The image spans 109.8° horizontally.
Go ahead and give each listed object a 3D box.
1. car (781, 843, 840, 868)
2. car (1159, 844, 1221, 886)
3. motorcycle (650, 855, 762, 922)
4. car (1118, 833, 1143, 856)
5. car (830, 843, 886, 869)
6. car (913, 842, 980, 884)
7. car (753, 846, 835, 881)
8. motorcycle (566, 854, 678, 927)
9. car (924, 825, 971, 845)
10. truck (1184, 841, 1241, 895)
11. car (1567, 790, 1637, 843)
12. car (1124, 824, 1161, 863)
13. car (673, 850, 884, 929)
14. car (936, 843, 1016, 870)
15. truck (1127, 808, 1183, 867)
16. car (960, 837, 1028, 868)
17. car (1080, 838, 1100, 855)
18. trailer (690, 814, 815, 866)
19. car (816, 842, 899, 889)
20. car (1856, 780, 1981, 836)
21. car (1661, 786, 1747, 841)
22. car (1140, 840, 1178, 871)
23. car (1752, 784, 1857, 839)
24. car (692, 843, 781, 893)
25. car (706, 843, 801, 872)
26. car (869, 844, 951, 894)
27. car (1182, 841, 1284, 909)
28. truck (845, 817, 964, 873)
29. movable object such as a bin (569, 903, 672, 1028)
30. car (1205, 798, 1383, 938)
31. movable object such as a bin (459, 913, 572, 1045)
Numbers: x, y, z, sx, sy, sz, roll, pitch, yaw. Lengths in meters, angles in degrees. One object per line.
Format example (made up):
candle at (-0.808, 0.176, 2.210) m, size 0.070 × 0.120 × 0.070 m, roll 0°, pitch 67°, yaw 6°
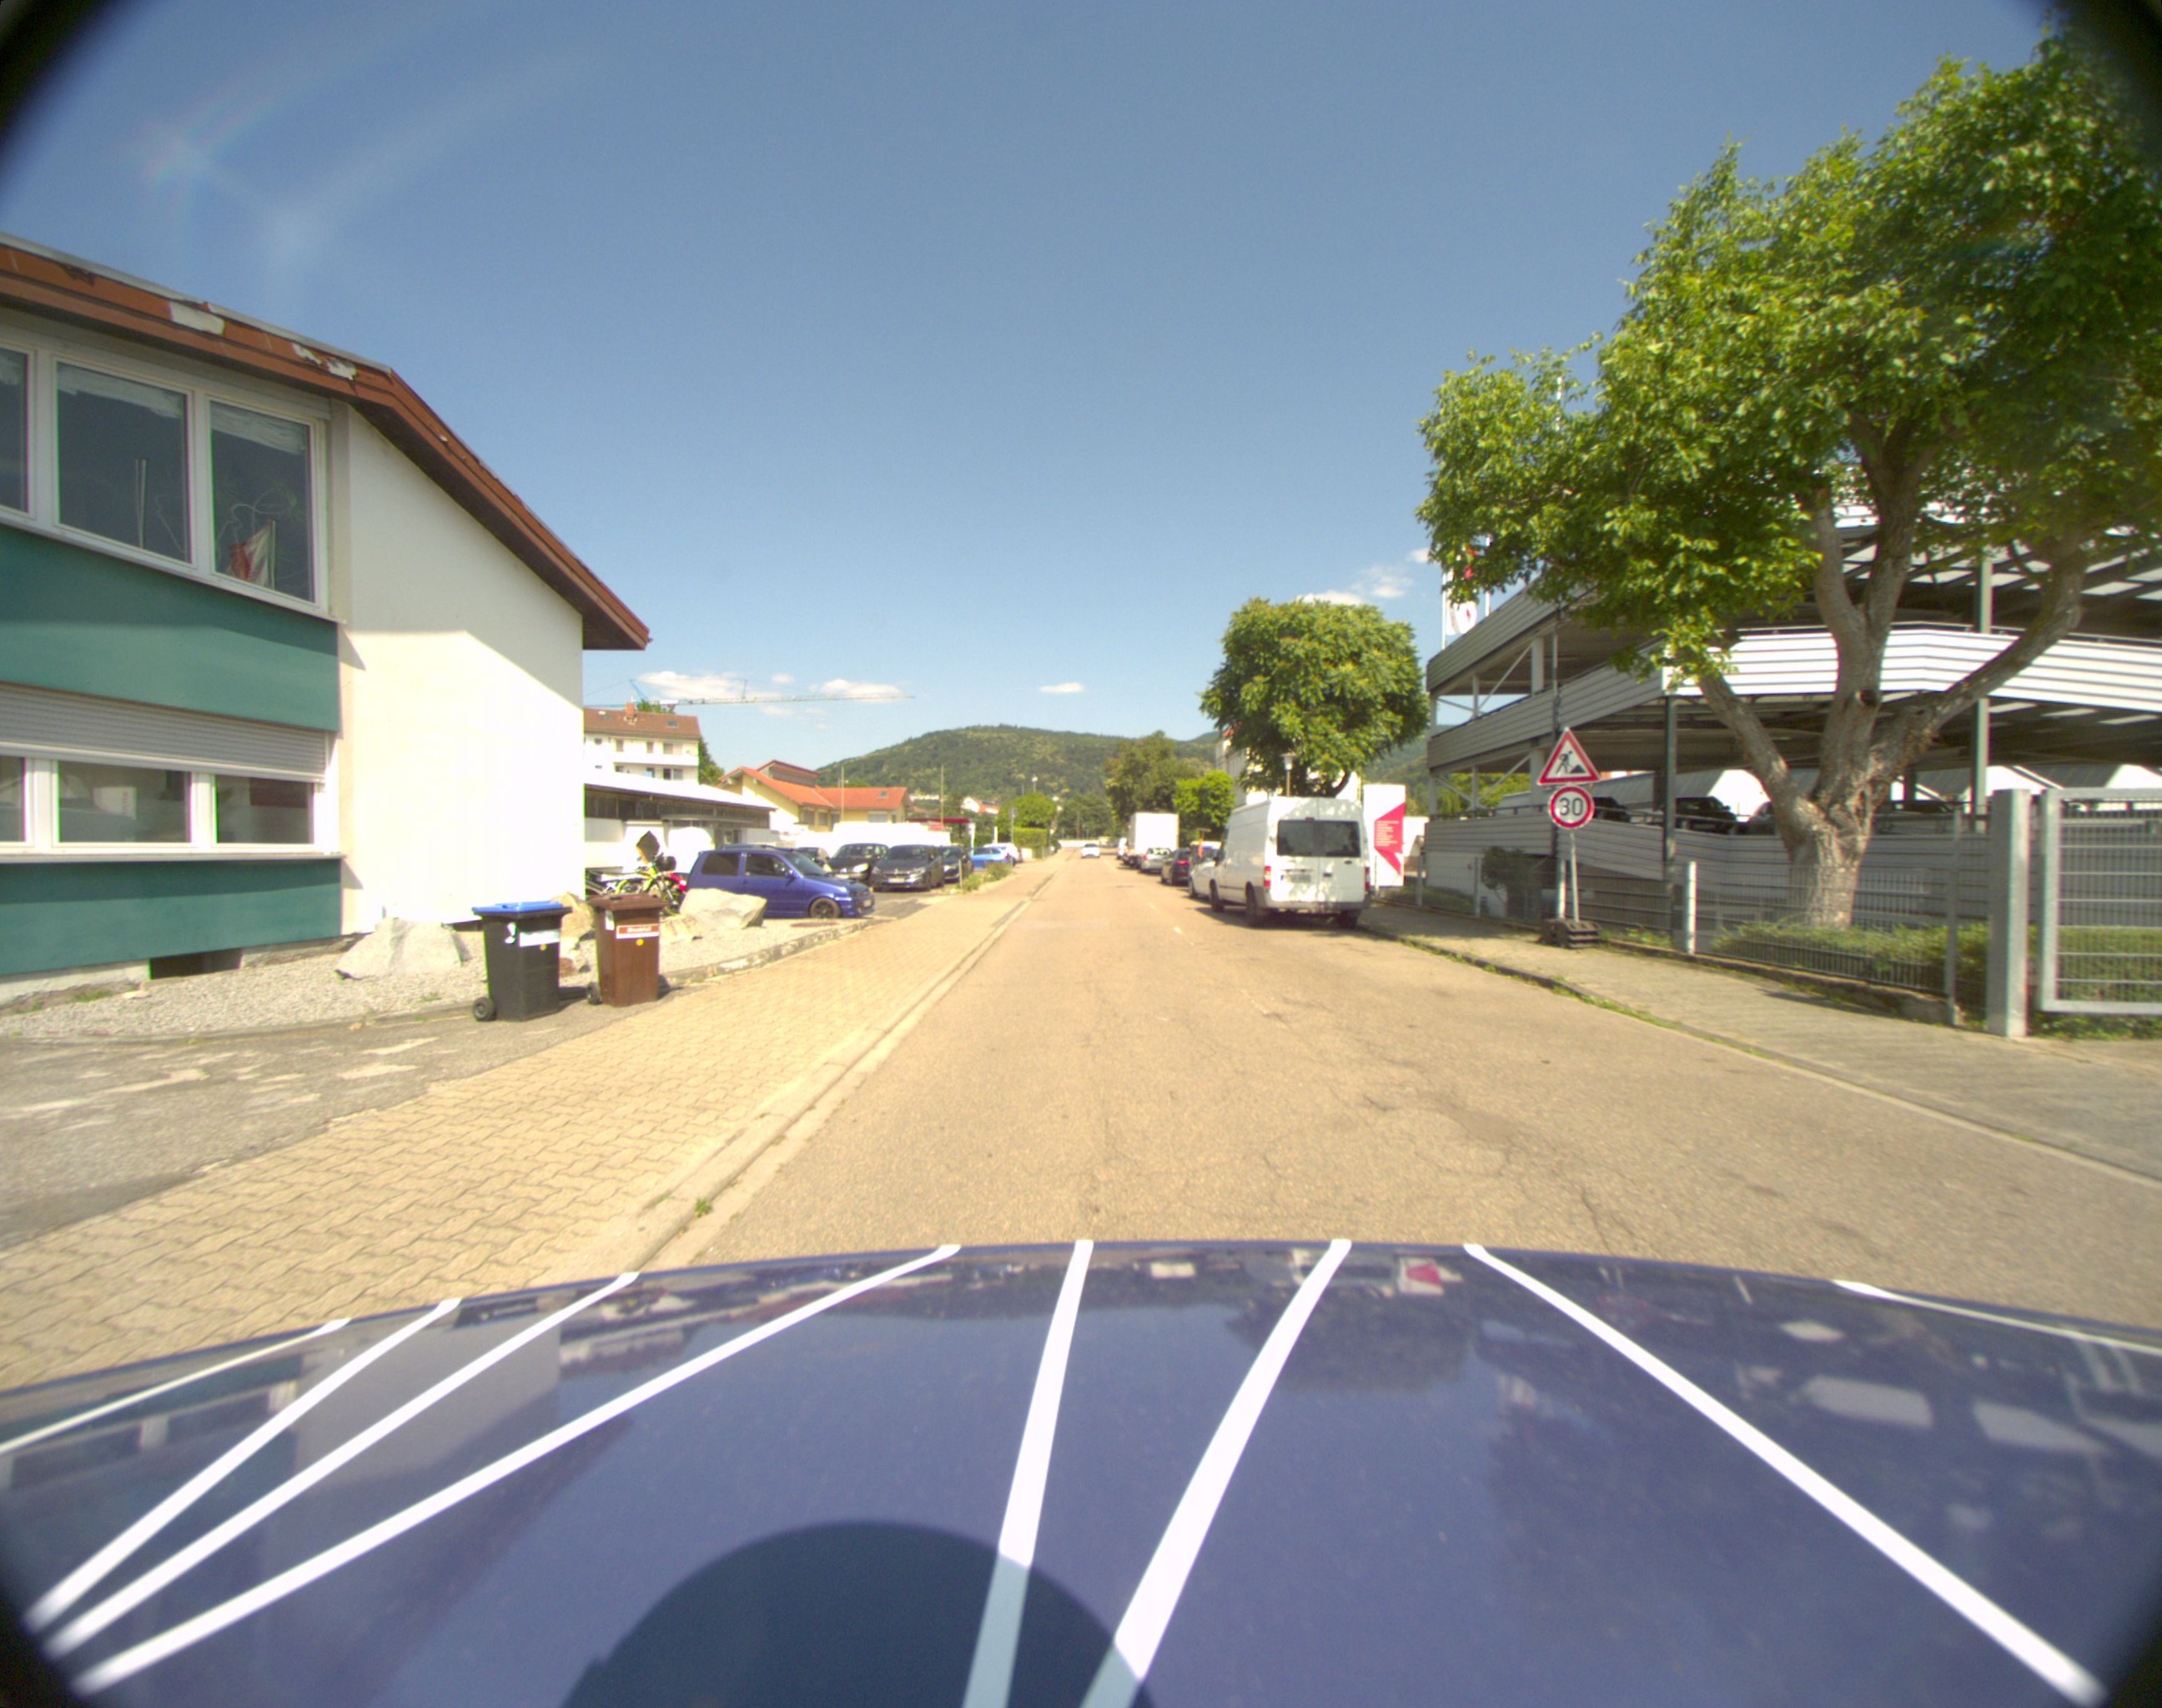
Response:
car at (-16.249, 0.051, 45.844) m, size 1.890 × 1.385 × 4.027 m, roll 1°, pitch 2°, yaw 4°
car at (4.112, 0.364, 29.267) m, size 1.709 × 1.455 × 4.112 m, roll 1°, pitch 1°, yaw -1°
motorcycle at (-7.630, 0.693, 15.519) m, size 1.874 × 1.272 × 0.796 m, roll 1°, pitch 2°, yaw -2°
car at (4.513, -0.919, 70.035) m, size 1.976 × 2.002 × 5.054 m, roll 1°, pitch 2°, yaw 1°
car at (-13.388, 0.083, 45.820) m, size 1.890 × 1.433 × 4.187 m, roll 1°, pitch 2°, yaw 4°
car at (-5.426, 0.317, 31.258) m, size 1.863 × 1.559 × 4.950 m, roll 0°, pitch 1°, yaw 0°
car at (-11.833, 0.332, 31.636) m, size 1.645 × 1.317 × 4.100 m, roll 0°, pitch 1°, yaw 3°
motorcycle at (-8.590, 0.656, 14.281) m, size 1.758 × 1.272 × 0.794 m, roll 0°, pitch 2°, yaw -30°
car at (-18.173, -2.634, 103.656) m, size 6.025 × 2.664 × 2.254 m, roll 0°, pitch 2°, yaw -22°
truck at (4.192, 0.398, 24.521) m, size 1.141 × 1.613 × 3.140 m, roll 2°, pitch 1°, yaw -2°
car at (17.645, -1.302, 25.783) m, size 1.812 × 1.663 × 4.006 m, roll 1°, pitch 4°, yaw 34°
car at (4.315, -0.841, 54.394) m, size 2.174 × 2.581 × 6.917 m, roll 1°, pitch 2°, yaw 1°
car at (-5.534, 0.620, 14.198) m, size 3.261 × 1.390 × 1.673 m, roll 0°, pitch 0°, yaw 1°
car at (-6.124, 0.145, 44.637) m, size 4.364 × 1.433 × 1.892 m, roll -2°, pitch 1°, yaw 0°
truck at (4.418, -1.070, 46.677) m, size 2.692 × 3.348 × 7.126 m, roll 0°, pitch 2°, yaw 0°
car at (-5.745, -0.089, 50.469) m, size 4.211 × 1.673 × 1.766 m, roll -4°, pitch 2°, yaw 0°
car at (0.943, -0.768, 75.509) m, size 1.895 × 1.412 × 4.169 m, roll 2°, pitch 2°, yaw 1°
trailer at (-25.239, -1.091, 58.609) m, size 8.351 × 3.841 × 3.068 m, roll 0°, pitch 2°, yaw 6°
car at (-8.063, 0.357, 27.774) m, size 1.763 × 1.586 × 3.619 m, roll 0°, pitch 1°, yaw 4°
car at (27.263, -1.515, 24.901) m, size 1.812 × 1.663 × 4.006 m, roll 1°, pitch 4°, yaw 34°
car at (20.663, -1.363, 25.362) m, size 1.812 × 1.663 × 4.006 m, roll 1°, pitch 4°, yaw 34°
car at (4.091, 0.031, 40.333) m, size 1.745 × 1.512 × 4.310 m, roll 1°, pitch 1°, yaw 3°
car at (23.741, -1.425, 25.097) m, size 1.812 × 1.663 × 4.006 m, roll 1°, pitch 4°, yaw 34°
car at (-11.549, 0.417, 25.754) m, size 1.766 × 1.487 × 4.144 m, roll 1°, pitch 1°, yaw -10°
car at (-15.705, 0.123, 36.697) m, size 1.711 × 1.317 × 4.193 m, roll 0°, pitch 1°, yaw 21°
car at (-5.674, 0.440, 25.759) m, size 1.816 × 1.549 × 4.291 m, roll 0°, pitch 1°, yaw 0°
car at (4.071, 0.501, 20.991) m, size 1.709 × 1.615 × 3.971 m, roll 2°, pitch 1°, yaw -4°
truck at (-12.327, -0.641, 53.401) m, size 7.536 × 3.404 × 2.526 m, roll -3°, pitch 2°, yaw 1°
movable object such as a bin at (-3.932, 0.923, 6.497) m, size 0.567 × 0.941 × 0.558 m, roll 1°, pitch 2°, yaw 34°
car at (4.056, 0.195, 15.563) m, size 2.010 × 2.353 × 5.227 m, roll 1°, pitch 1°, yaw -1°
movable object such as a bin at (-4.451, 0.962, 5.998) m, size 0.514 × 0.941 × 0.488 m, roll 1°, pitch 1°, yaw 12°
